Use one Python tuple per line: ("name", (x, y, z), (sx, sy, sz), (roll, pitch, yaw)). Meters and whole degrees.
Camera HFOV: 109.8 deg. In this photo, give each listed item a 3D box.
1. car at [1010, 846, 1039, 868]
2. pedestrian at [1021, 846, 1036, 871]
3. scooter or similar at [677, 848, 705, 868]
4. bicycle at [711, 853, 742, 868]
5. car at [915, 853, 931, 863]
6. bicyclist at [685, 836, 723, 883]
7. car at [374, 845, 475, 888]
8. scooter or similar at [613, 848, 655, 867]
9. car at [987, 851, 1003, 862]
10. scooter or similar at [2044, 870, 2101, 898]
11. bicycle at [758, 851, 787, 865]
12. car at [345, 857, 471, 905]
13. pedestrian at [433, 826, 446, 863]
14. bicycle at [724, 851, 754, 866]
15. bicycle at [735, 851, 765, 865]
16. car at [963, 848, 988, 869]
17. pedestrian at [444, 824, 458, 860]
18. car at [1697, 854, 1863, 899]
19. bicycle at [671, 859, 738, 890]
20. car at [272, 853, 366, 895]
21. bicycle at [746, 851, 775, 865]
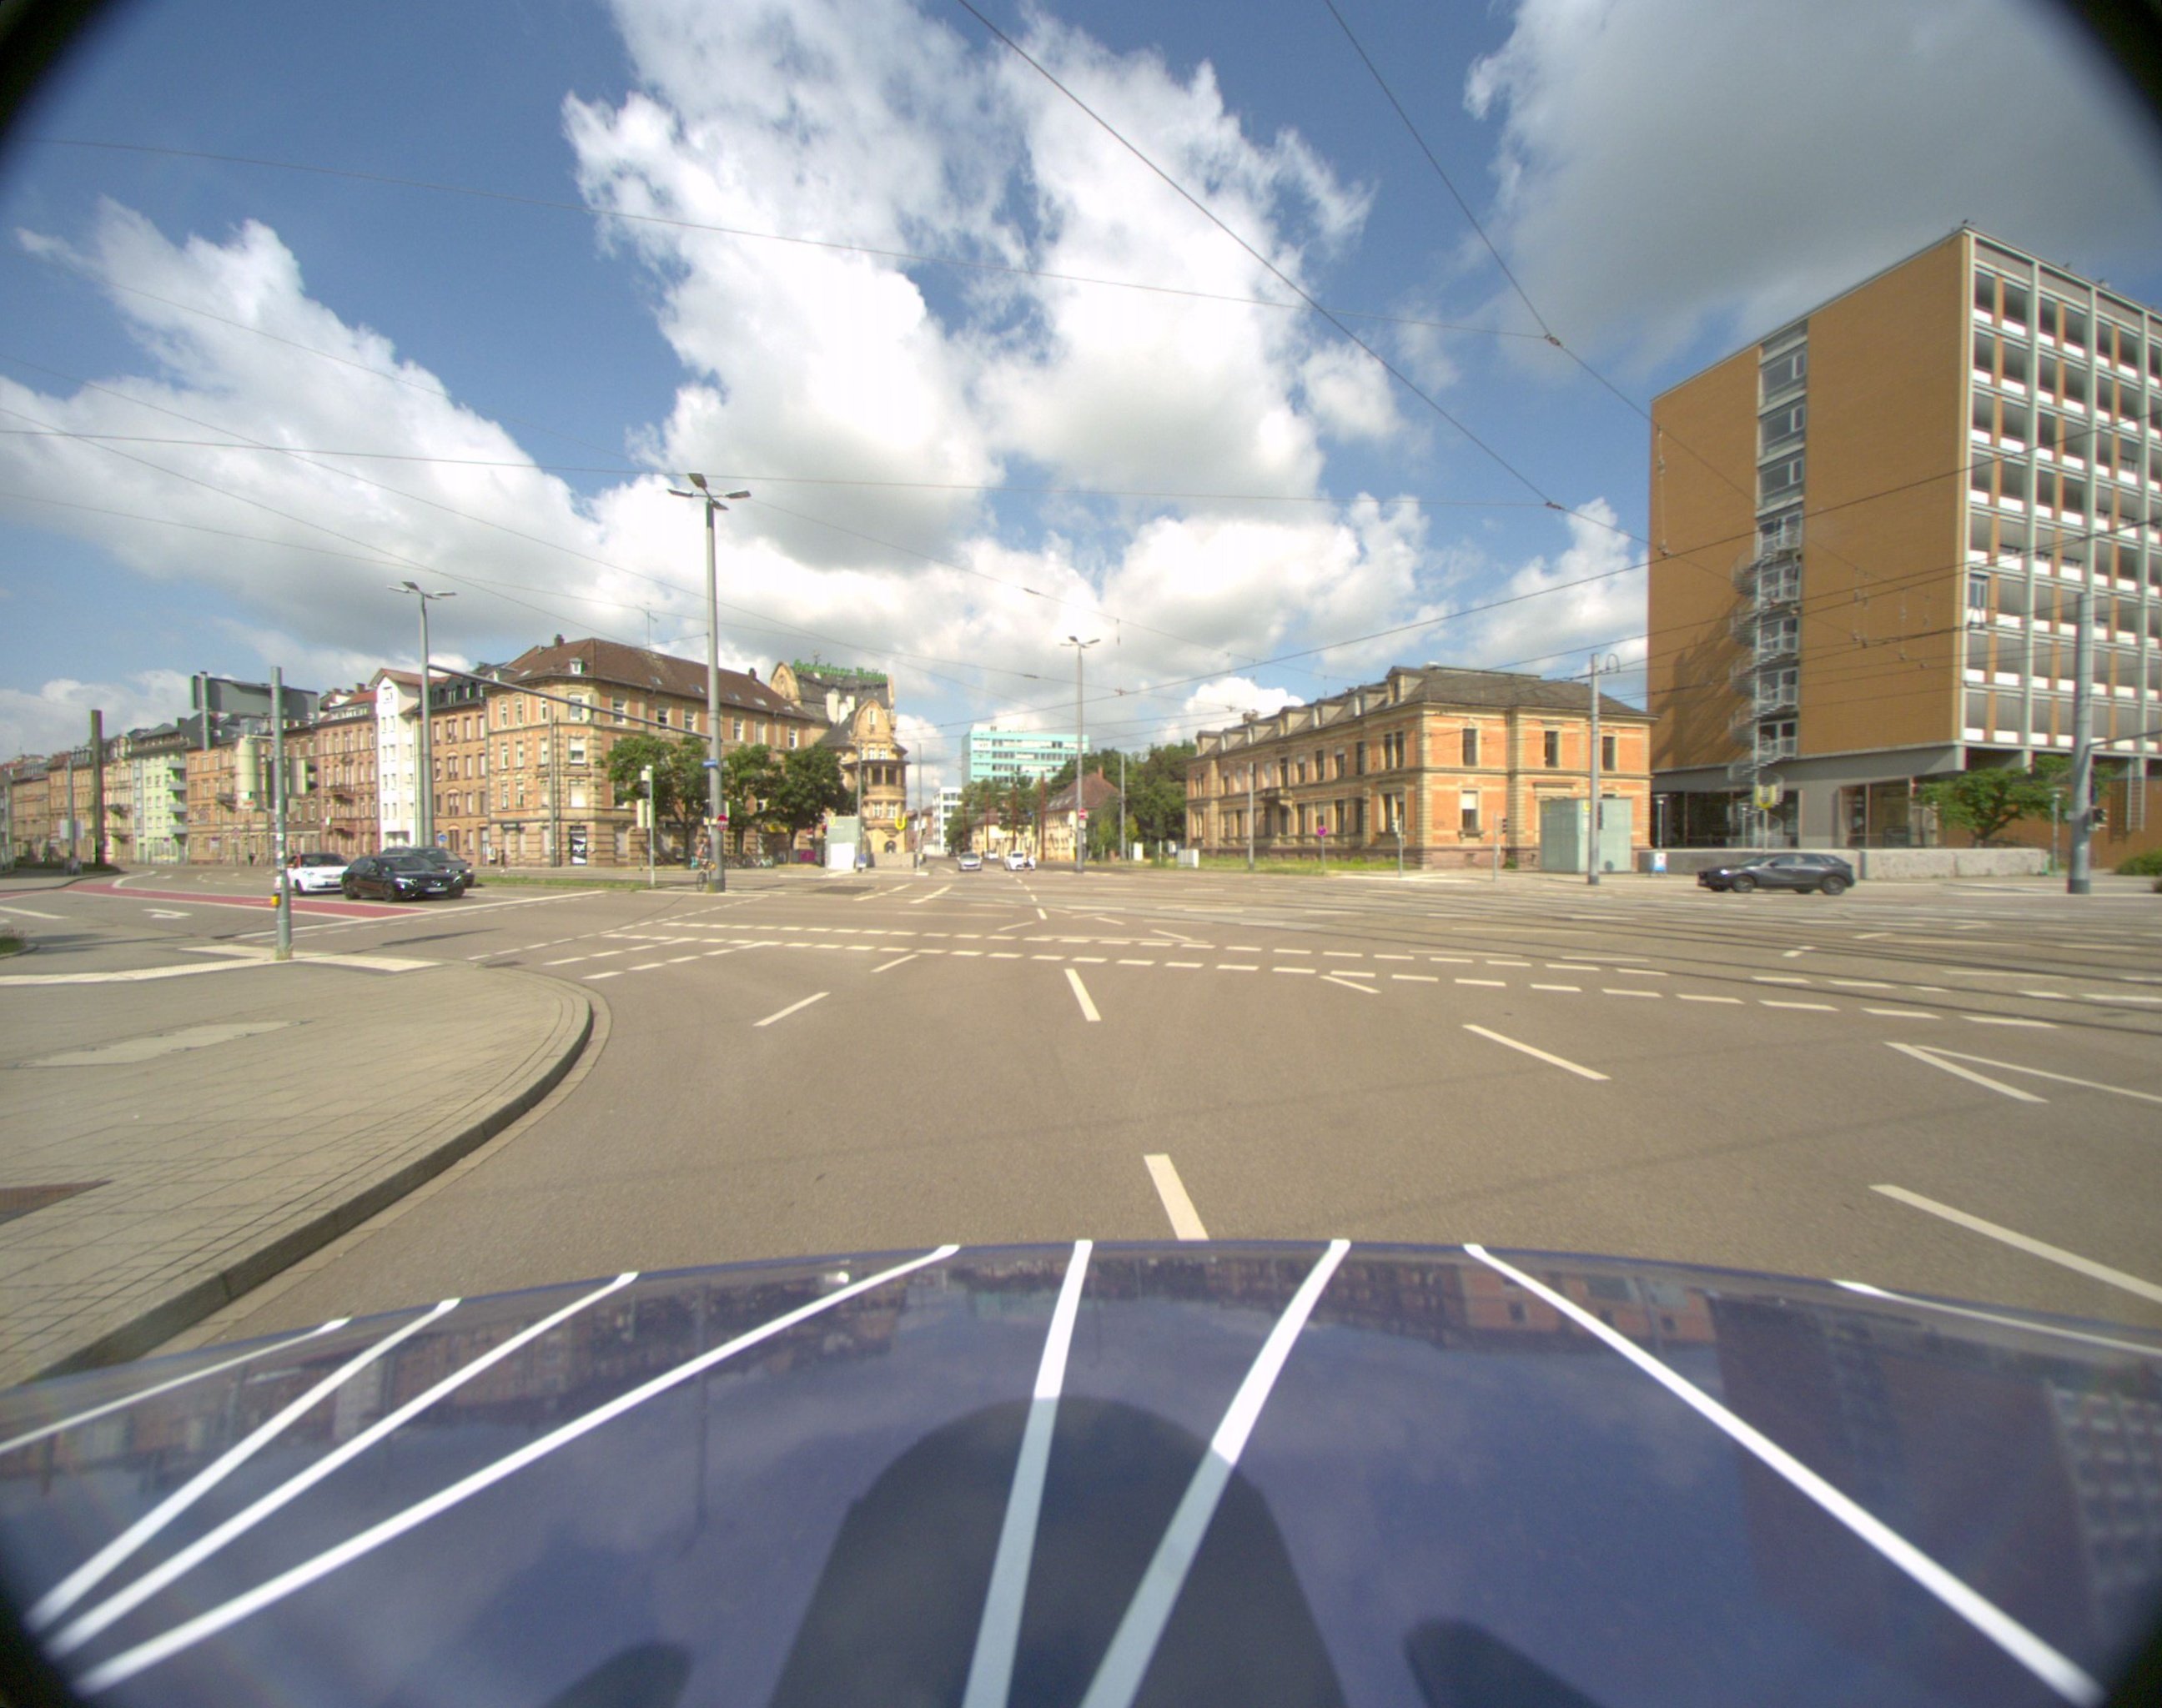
("car", (-4.234, 0.256, 56.562), (1.956, 1.586, 4.504), (0, -1, -6))
("pedestrian", (-3.162, 0.282, 46.014), (0.543, 1.507, 0.744), (1, 1, 35))
("scooter or similar", (-30.392, 0.295, 59.227), (2.009, 1.474, 0.882), (2, 2, 27))
("bicycle", (-28.456, 0.513, 60.964), (2.677, 1.159, 0.762), (0, 1, 29))
("car", (-23.793, 0.565, 114.550), (1.872, 1.375, 3.994), (0, -1, -19))
("bicyclist", (-13.771, 0.211, 27.755), (0.614, 1.664, 1.150), (-1, -1, 16))
("car", (-25.934, 0.443, 30.011), (3.726, 1.565, 2.004), (0, 1, 32))
("scooter or similar", (-32.825, 0.261, 55.806), (2.798, 1.377, 1.182), (-1, -1, 21))
("car", (-15.883, 0.452, 140.082), (2.002, 2.001, 3.994), (0, -1, -21))
("scooter or similar", (46.023, 1.368, 35.289), (0.435, 1.177, 1.532), (-1, 3, -42))
("bicycle", (-26.315, 0.322, 64.820), (2.677, 1.159, 0.762), (0, 1, 30))
("car", (-21.494, 0.796, 24.238), (3.929, 1.368, 1.874), (0, 1, 31))
("pedestrian", (-54.373, -0.791, 64.415), (0.885, 3.101, 0.669), (-1, -1, 36))
("bicycle", (-27.872, 0.348, 61.855), (2.677, 1.159, 0.762), (0, 1, 29))
("bicycle", (-27.348, 0.310, 62.780), (2.677, 1.159, 0.762), (0, 1, 29))
("car", (-8.193, 0.354, 59.322), (1.838, 1.586, 3.998), (0, -1, -6))
("pedestrian", (-53.887, -0.987, 65.023), (0.885, 3.057, 0.728), (-1, -1, 36))
("car", (25.582, 0.837, 27.965), (4.204, 1.567, 1.649), (-1, -1, 14))
("bicycle", (-13.736, 0.738, 27.810), (0.876, 1.064, 2.201), (-1, -1, 18))
("car", (-28.092, 0.725, 27.993), (3.646, 1.461, 1.694), (-1, -1, 32))
("bicycle", (-26.891, 0.297, 63.759), (2.677, 1.159, 0.762), (0, 1, 29))
